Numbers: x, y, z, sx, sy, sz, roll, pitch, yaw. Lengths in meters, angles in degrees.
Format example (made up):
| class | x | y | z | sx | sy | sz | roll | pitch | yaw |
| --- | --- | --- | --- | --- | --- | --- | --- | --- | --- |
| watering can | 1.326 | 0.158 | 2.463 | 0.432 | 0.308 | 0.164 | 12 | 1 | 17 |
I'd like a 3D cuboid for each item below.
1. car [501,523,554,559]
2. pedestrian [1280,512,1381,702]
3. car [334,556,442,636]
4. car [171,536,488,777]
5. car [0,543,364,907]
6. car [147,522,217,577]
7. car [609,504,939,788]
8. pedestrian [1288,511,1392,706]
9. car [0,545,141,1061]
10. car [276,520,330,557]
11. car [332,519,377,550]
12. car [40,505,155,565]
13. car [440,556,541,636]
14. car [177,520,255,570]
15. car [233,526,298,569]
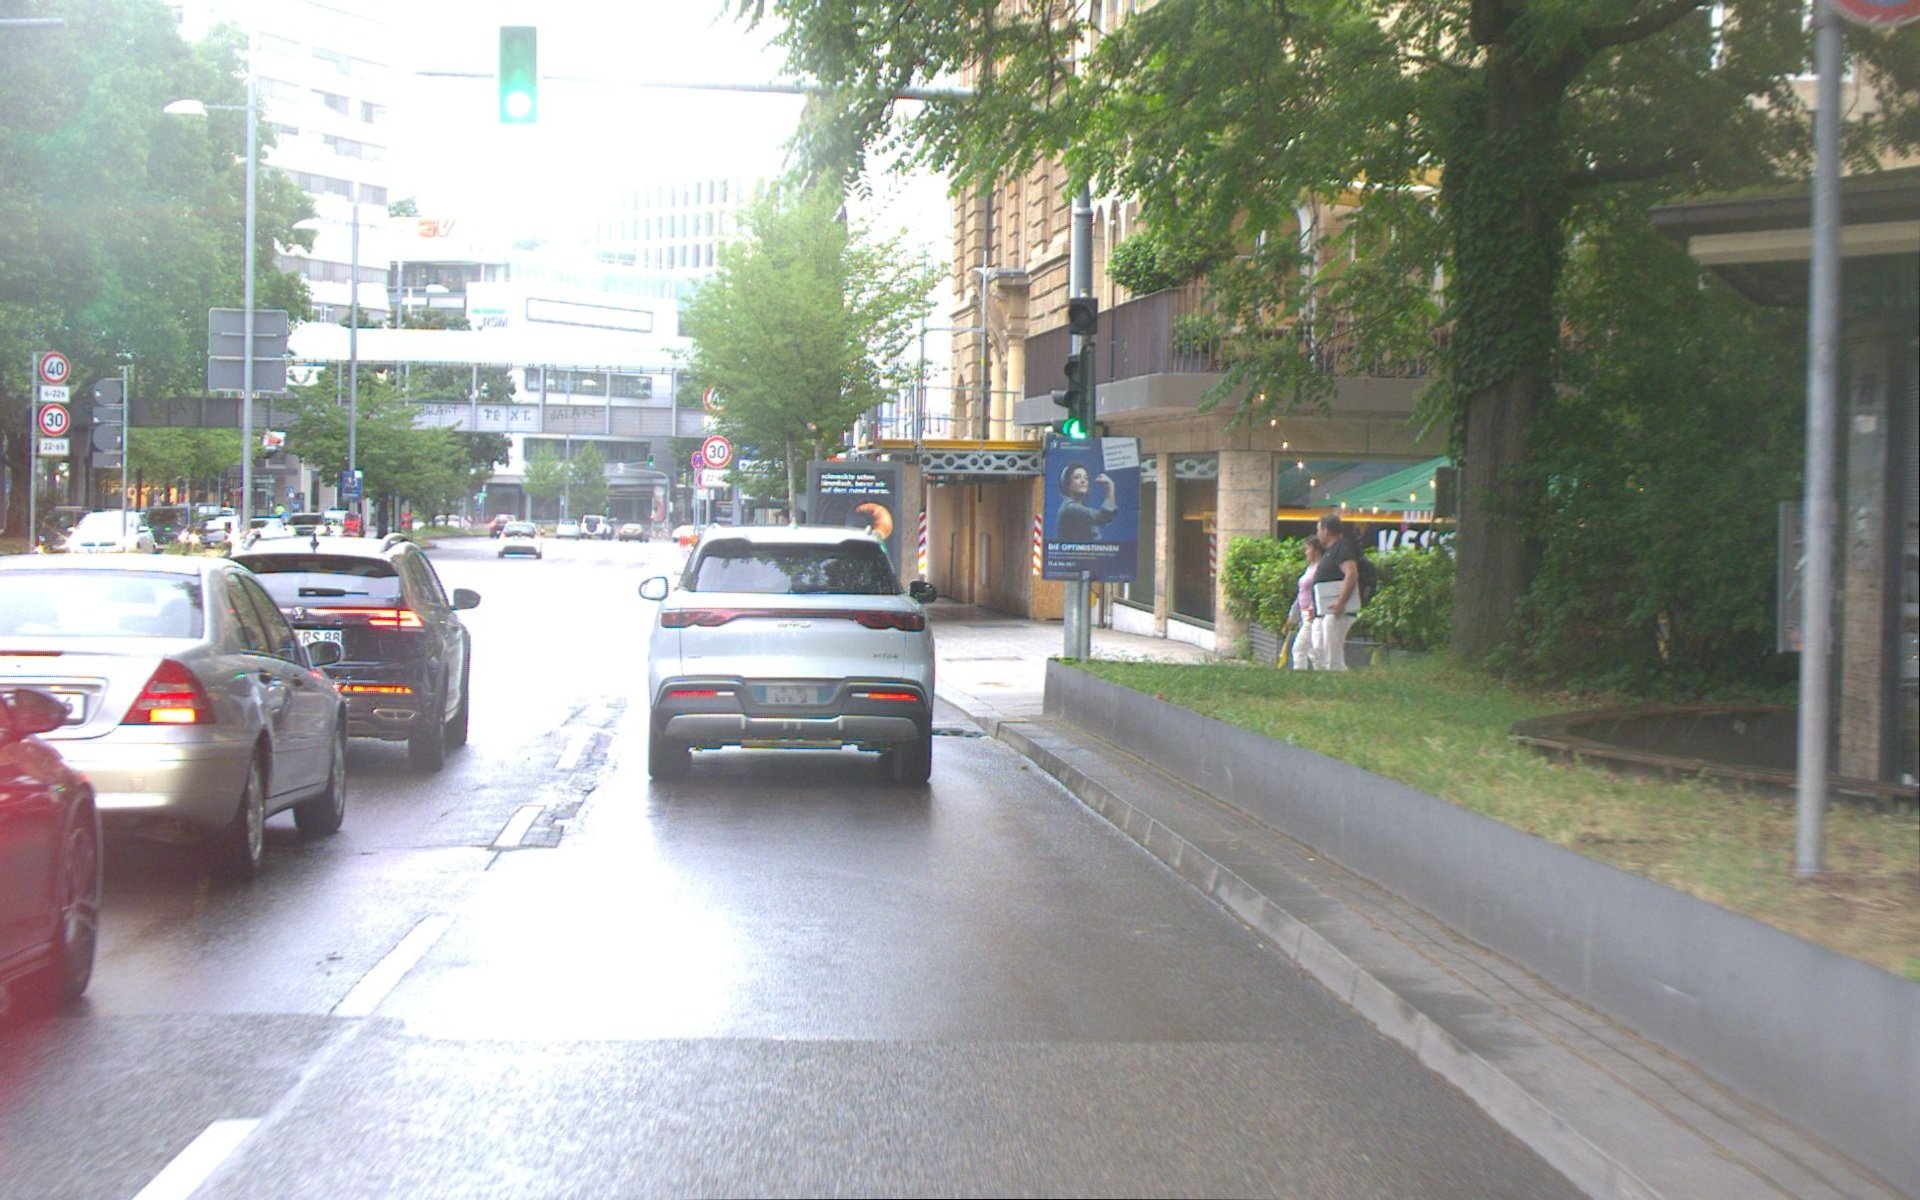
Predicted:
| class | x | y | z | sx | sy | sz | roll | pitch | yaw |
| --- | --- | --- | --- | --- | --- | --- | --- | --- | --- |
| car | -17.701 | -2.426 | 140.869 | 1.978 | 1.458 | 4.346 | -1 | 1 | -5 |
| pedestrian | 3.526 | 0.066 | 32.793 | 0.859 | 1.774 | 0.718 | 1 | 0 | 1 |
| car | -10.992 | -0.099 | 66.281 | 1.691 | 1.458 | 4.346 | -1 | 1 | -5 |
| car | -4.177 | 0.306 | 23.341 | 1.691 | 1.458 | 4.346 | -1 | 1 | -5 |
| car | -3.955 | 0.478 | 16.155 | 1.691 | 1.458 | 4.346 | 0 | 1 | -2 |
| car | -27.578 | -1.790 | 121.960 | 1.794 | 1.903 | 4.501 | -1 | 1 | -5 |
| car | -1.212 | 0.248 | 23.110 | 1.946 | 1.660 | 4.346 | 2 | 1 | -2 |
| pedestrian | 3.538 | 0.073 | 32.037 | 0.859 | 1.774 | 0.718 | 1 | 0 | 1 |
| car | -3.579 | 0.591 | 9.658 | 1.691 | 1.458 | 4.130 | 0 | 1 | -2 |
| car | -27.980 | -2.626 | 146.421 | 1.794 | 1.505 | 4.346 | -1 | 1 | -5 |
| car | -29.762 | -3.227 | 169.060 | 1.794 | 1.505 | 4.346 | -1 | 1 | -5 |
| car | -21.874 | -1.658 | 87.359 | 2.159 | 1.458 | 4.346 | -1 | 1 | -5 |
| car | -9.036 | -0.105 | 66.355 | 1.691 | 1.458 | 4.346 | -1 | 1 | -5 |
| car | -23.111 | -1.713 | 106.896 | 1.794 | 1.505 | 4.501 | -1 | 1 | -5 |
| car | -25.162 | -1.924 | 124.695 | 1.794 | 1.505 | 4.501 | -1 | 1 | -5 |
